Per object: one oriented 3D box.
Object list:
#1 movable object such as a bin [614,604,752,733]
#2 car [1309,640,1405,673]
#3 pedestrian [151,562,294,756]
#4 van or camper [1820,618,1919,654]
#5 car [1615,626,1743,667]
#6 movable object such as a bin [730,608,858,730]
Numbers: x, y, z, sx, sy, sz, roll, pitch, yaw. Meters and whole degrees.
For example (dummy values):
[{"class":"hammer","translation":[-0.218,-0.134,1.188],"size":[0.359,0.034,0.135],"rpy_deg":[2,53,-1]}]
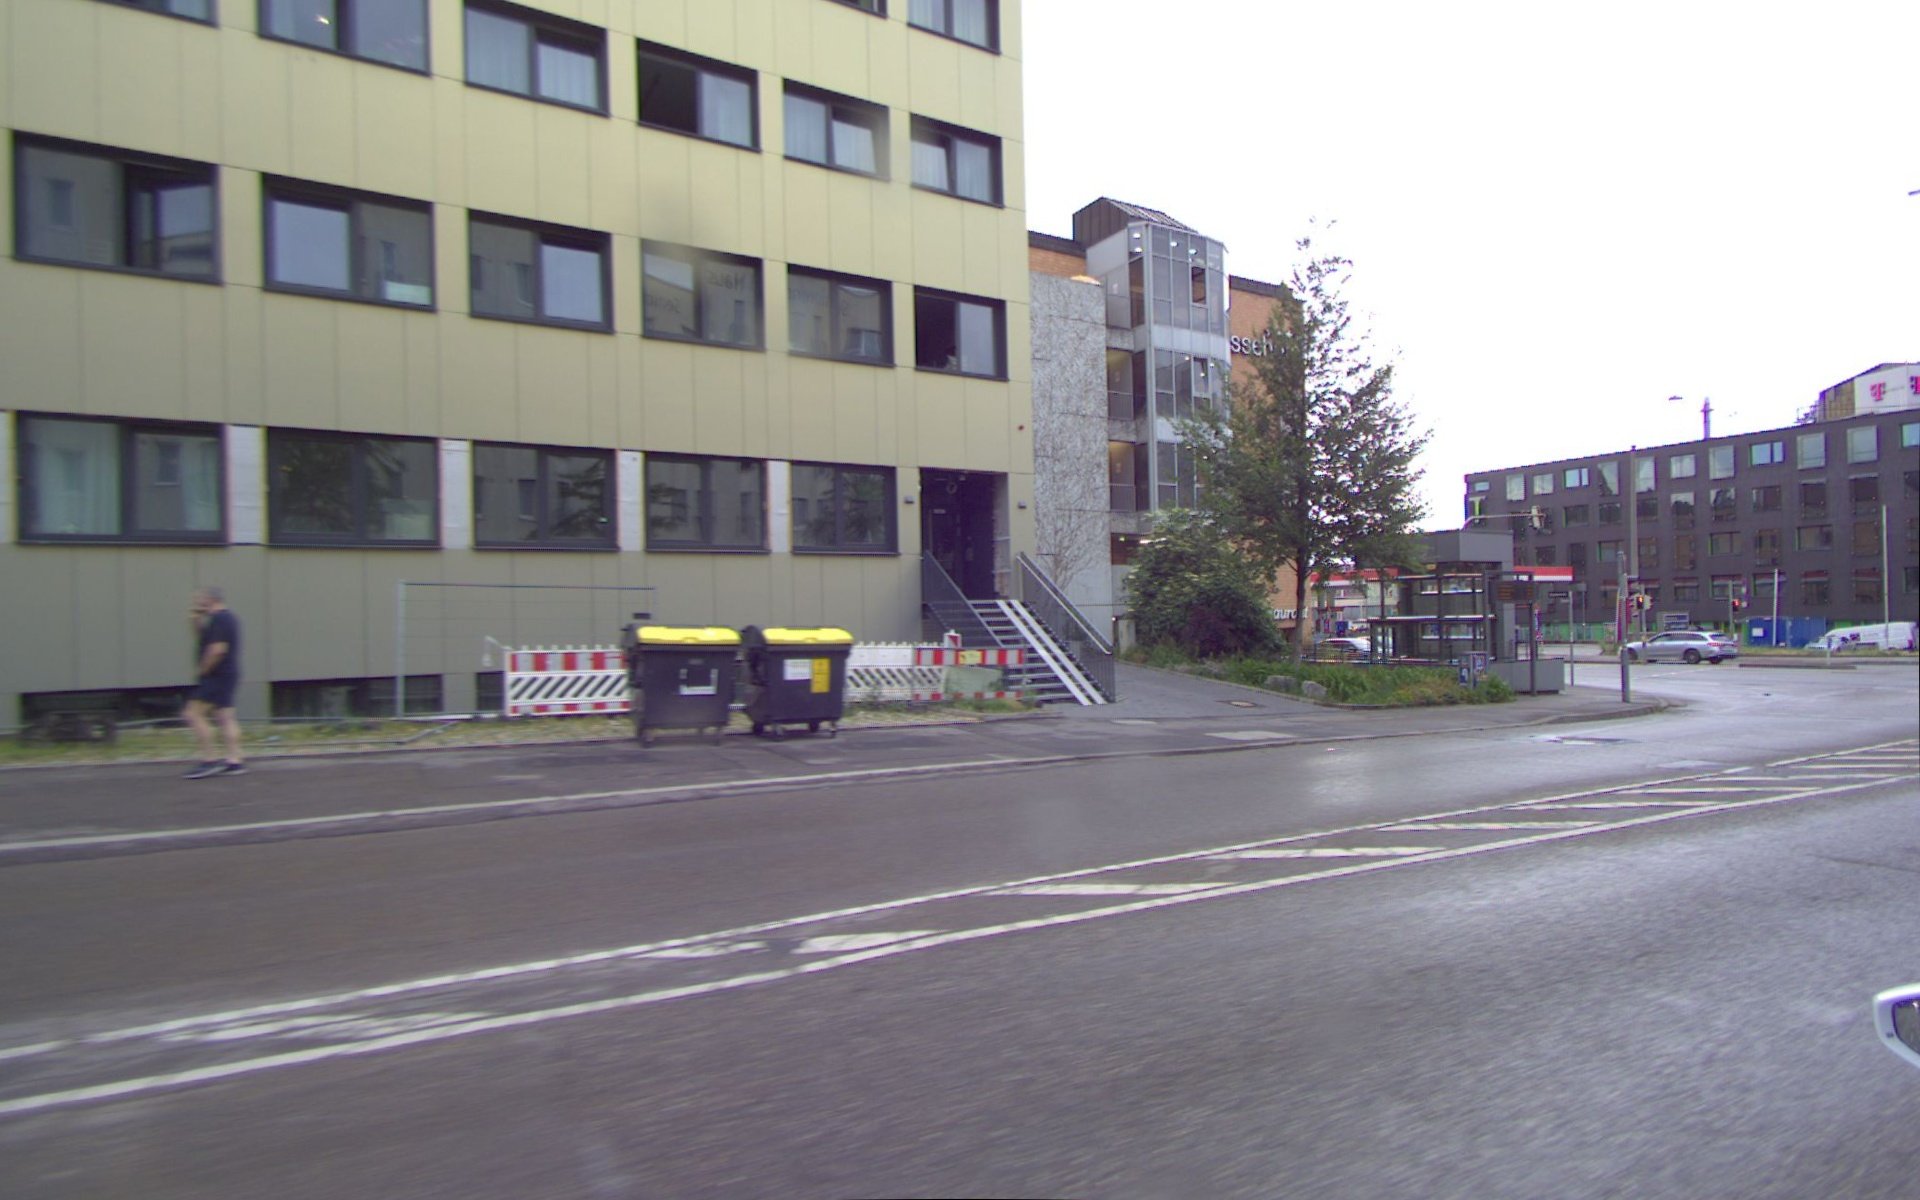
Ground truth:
[{"class":"movable object such as a bin","translation":[-3.461,0.831,12.512],"size":[1.413,1.464,1.049],"rpy_deg":[2,1,-28]},{"class":"car","translation":[18.123,2.558,46.037],"size":[1.631,1.338,3.969],"rpy_deg":[-1,-1,-30]},{"class":"pedestrian","translation":[-7.039,0.550,9.643],"size":[0.930,1.755,0.752],"rpy_deg":[2,0,-27]},{"class":"van or camper","translation":[67.320,2.649,74.113],"size":[2.708,2.400,5.303],"rpy_deg":[3,0,-30]},{"class":"car","translation":[33.234,2.118,46.593],"size":[1.971,1.600,4.469],"rpy_deg":[2,0,-21]},{"class":"movable object such as a bin","translation":[-2.194,0.886,13.203],"size":[1.341,1.464,1.049],"rpy_deg":[2,1,-28]}]
